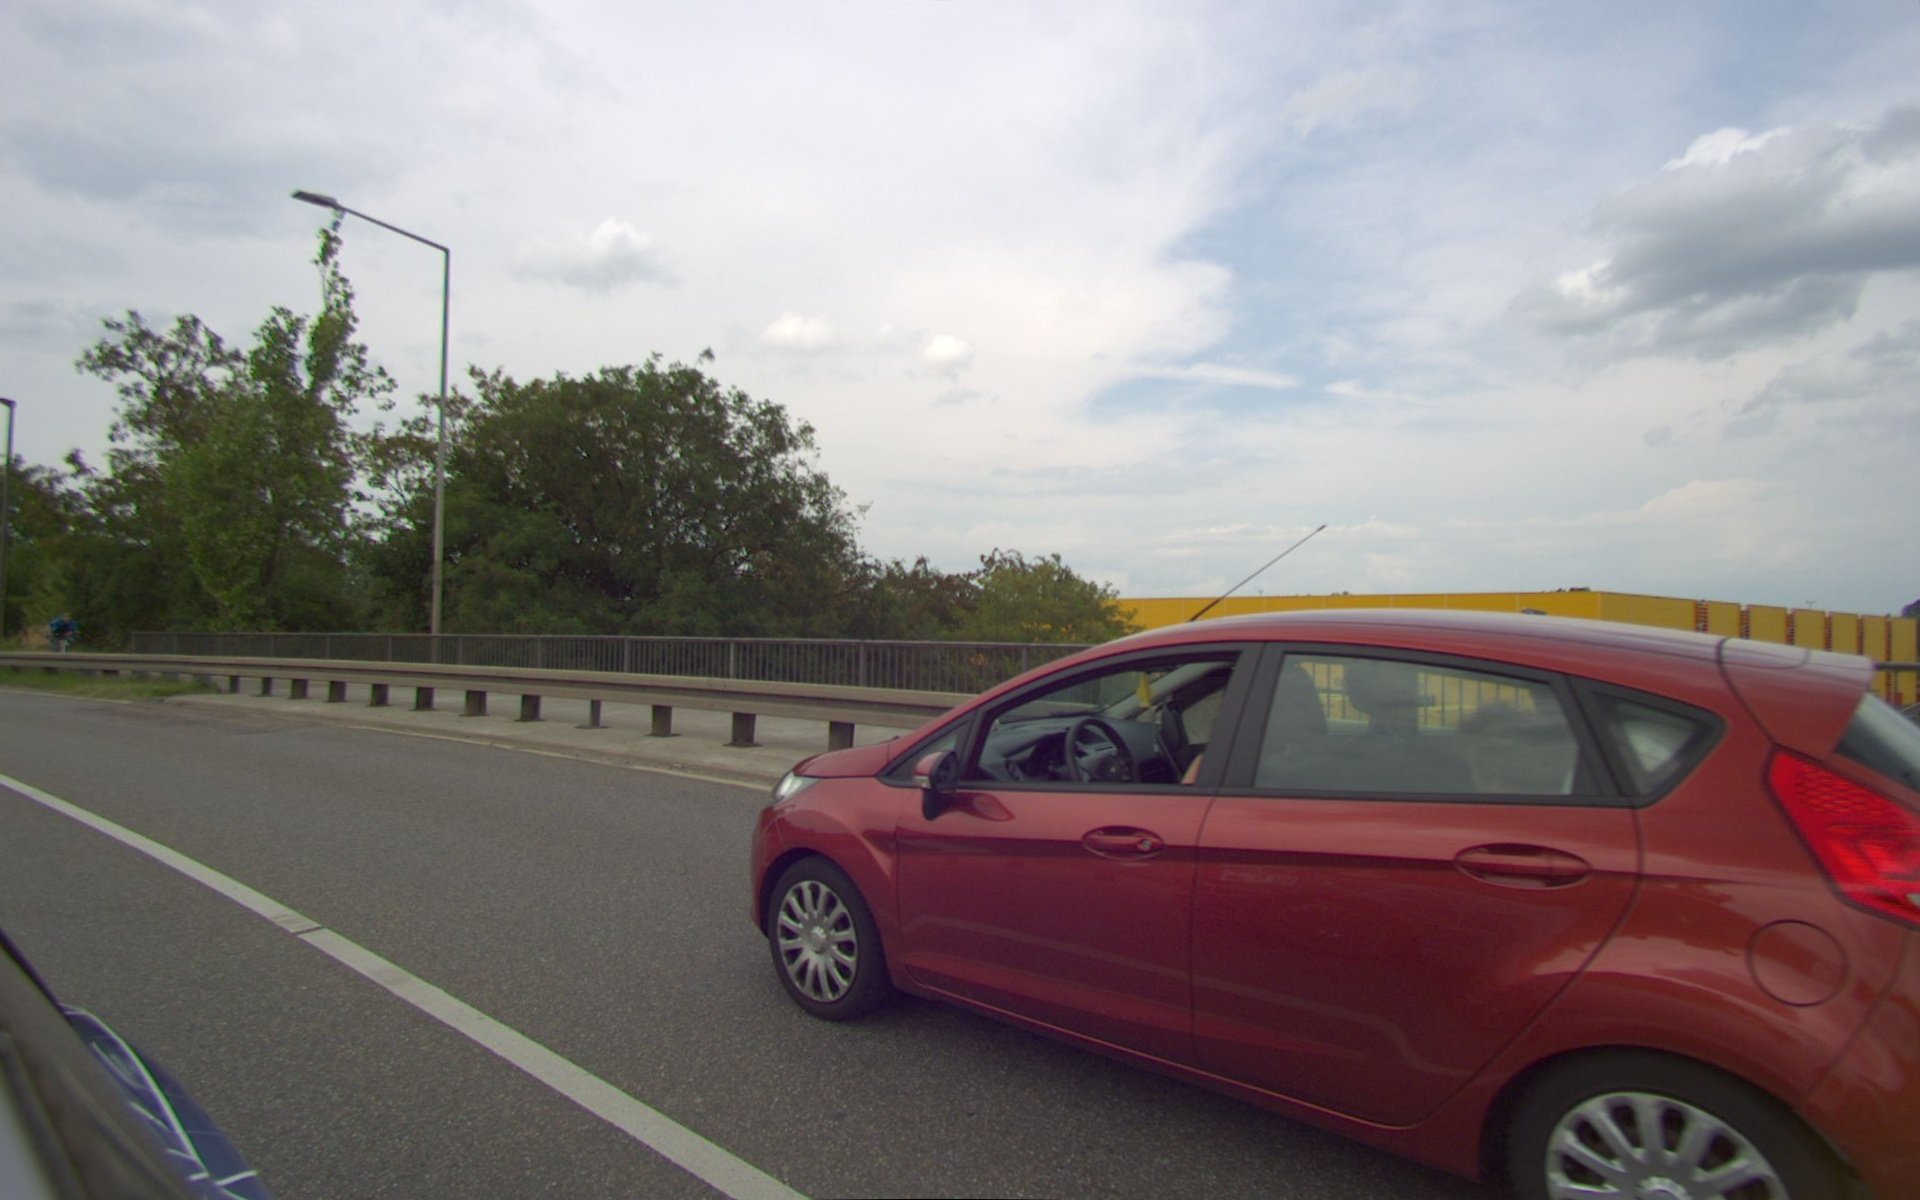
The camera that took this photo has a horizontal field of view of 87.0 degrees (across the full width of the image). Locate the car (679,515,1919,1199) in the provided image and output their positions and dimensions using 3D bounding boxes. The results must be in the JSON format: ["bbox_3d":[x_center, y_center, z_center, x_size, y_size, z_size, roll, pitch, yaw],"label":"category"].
[{"bbox_3d":[1.035,0.630,3.198,3.996,1.503,1.741,-1,0,40],"label":"car"}]

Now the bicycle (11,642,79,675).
[{"bbox_3d":[-23.932,1.531,26.452,1.883,0.804,0.688,-2,-1,27],"label":"bicycle"}]

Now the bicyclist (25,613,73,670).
[{"bbox_3d":[-23.784,1.077,26.415,0.744,1.455,0.706,-2,-1,26],"label":"bicyclist"}]
